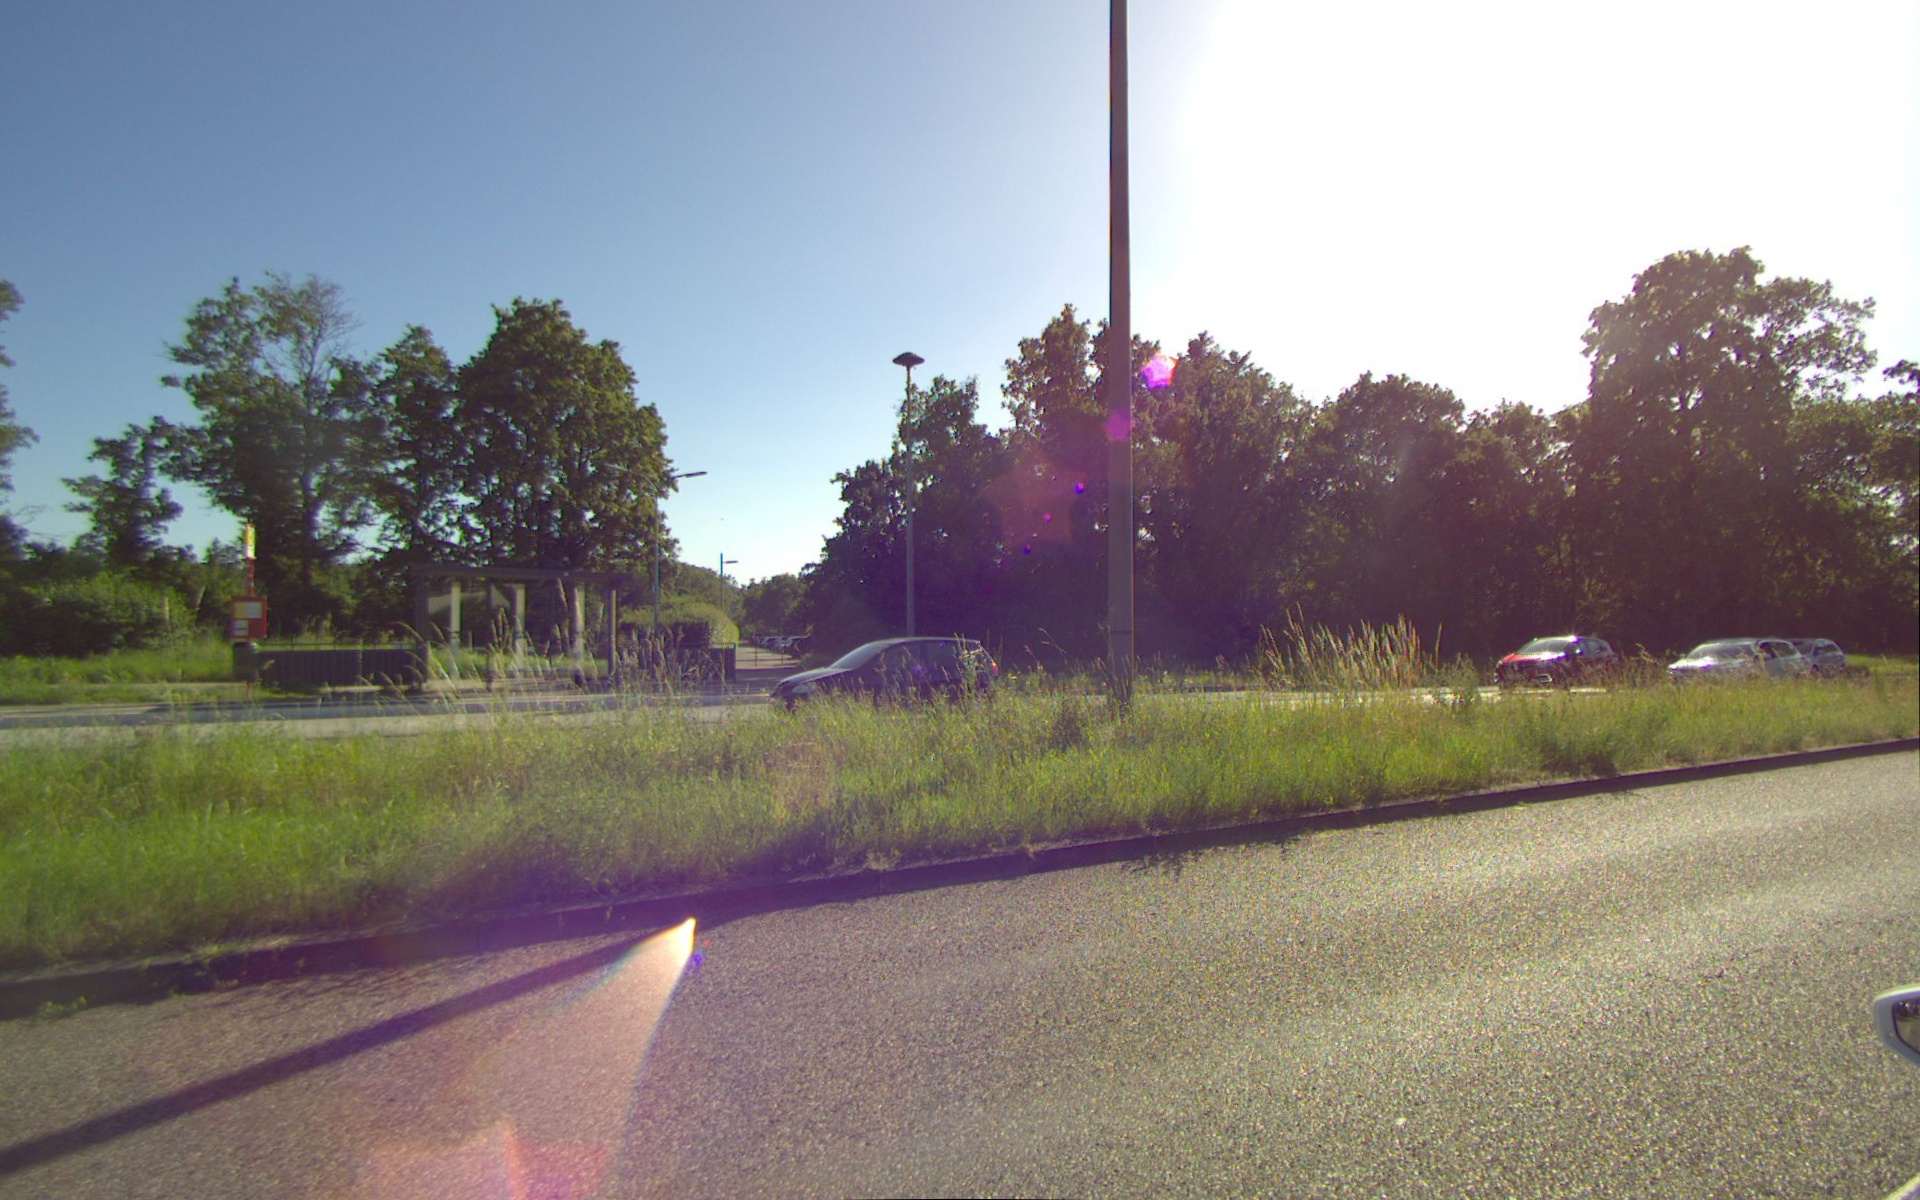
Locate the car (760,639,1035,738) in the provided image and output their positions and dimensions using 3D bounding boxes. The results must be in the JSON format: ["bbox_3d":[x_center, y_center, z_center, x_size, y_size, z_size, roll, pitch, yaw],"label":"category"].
[{"bbox_3d":[-1.040,1.470,17.702,4.543,1.520,1.796,1,-2,-31],"label":"car"}]

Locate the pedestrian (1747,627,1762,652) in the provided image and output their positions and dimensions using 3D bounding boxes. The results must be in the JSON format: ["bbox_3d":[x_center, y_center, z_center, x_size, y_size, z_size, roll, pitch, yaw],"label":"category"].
[{"bbox_3d":[47.812,2.357,60.464,0.589,1.479,0.542,1,0,-30],"label":"pedestrian"}]

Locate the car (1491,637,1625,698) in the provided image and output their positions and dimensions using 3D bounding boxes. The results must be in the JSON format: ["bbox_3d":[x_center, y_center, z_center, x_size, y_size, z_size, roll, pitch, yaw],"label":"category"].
[{"bbox_3d":[16.769,1.829,28.120,3.955,1.583,1.596,1,-1,-32],"label":"car"}]

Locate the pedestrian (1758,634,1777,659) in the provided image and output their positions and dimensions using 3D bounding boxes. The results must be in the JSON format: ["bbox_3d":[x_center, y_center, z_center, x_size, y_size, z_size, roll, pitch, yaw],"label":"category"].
[{"bbox_3d":[48.039,2.747,59.754,0.906,1.479,0.542,1,-2,-30],"label":"pedestrian"}]

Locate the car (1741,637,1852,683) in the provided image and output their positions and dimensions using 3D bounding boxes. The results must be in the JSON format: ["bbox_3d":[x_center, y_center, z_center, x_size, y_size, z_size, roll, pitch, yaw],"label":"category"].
[{"bbox_3d":[29.387,2.064,35.263,4.015,1.491,1.705,1,-1,-30],"label":"car"}]

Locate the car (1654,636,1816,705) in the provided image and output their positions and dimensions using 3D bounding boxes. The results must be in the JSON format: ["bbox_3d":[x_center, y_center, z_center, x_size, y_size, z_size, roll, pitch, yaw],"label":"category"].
[{"bbox_3d":[19.587,1.724,25.355,4.305,1.623,1.706,1,-2,-29],"label":"car"}]
